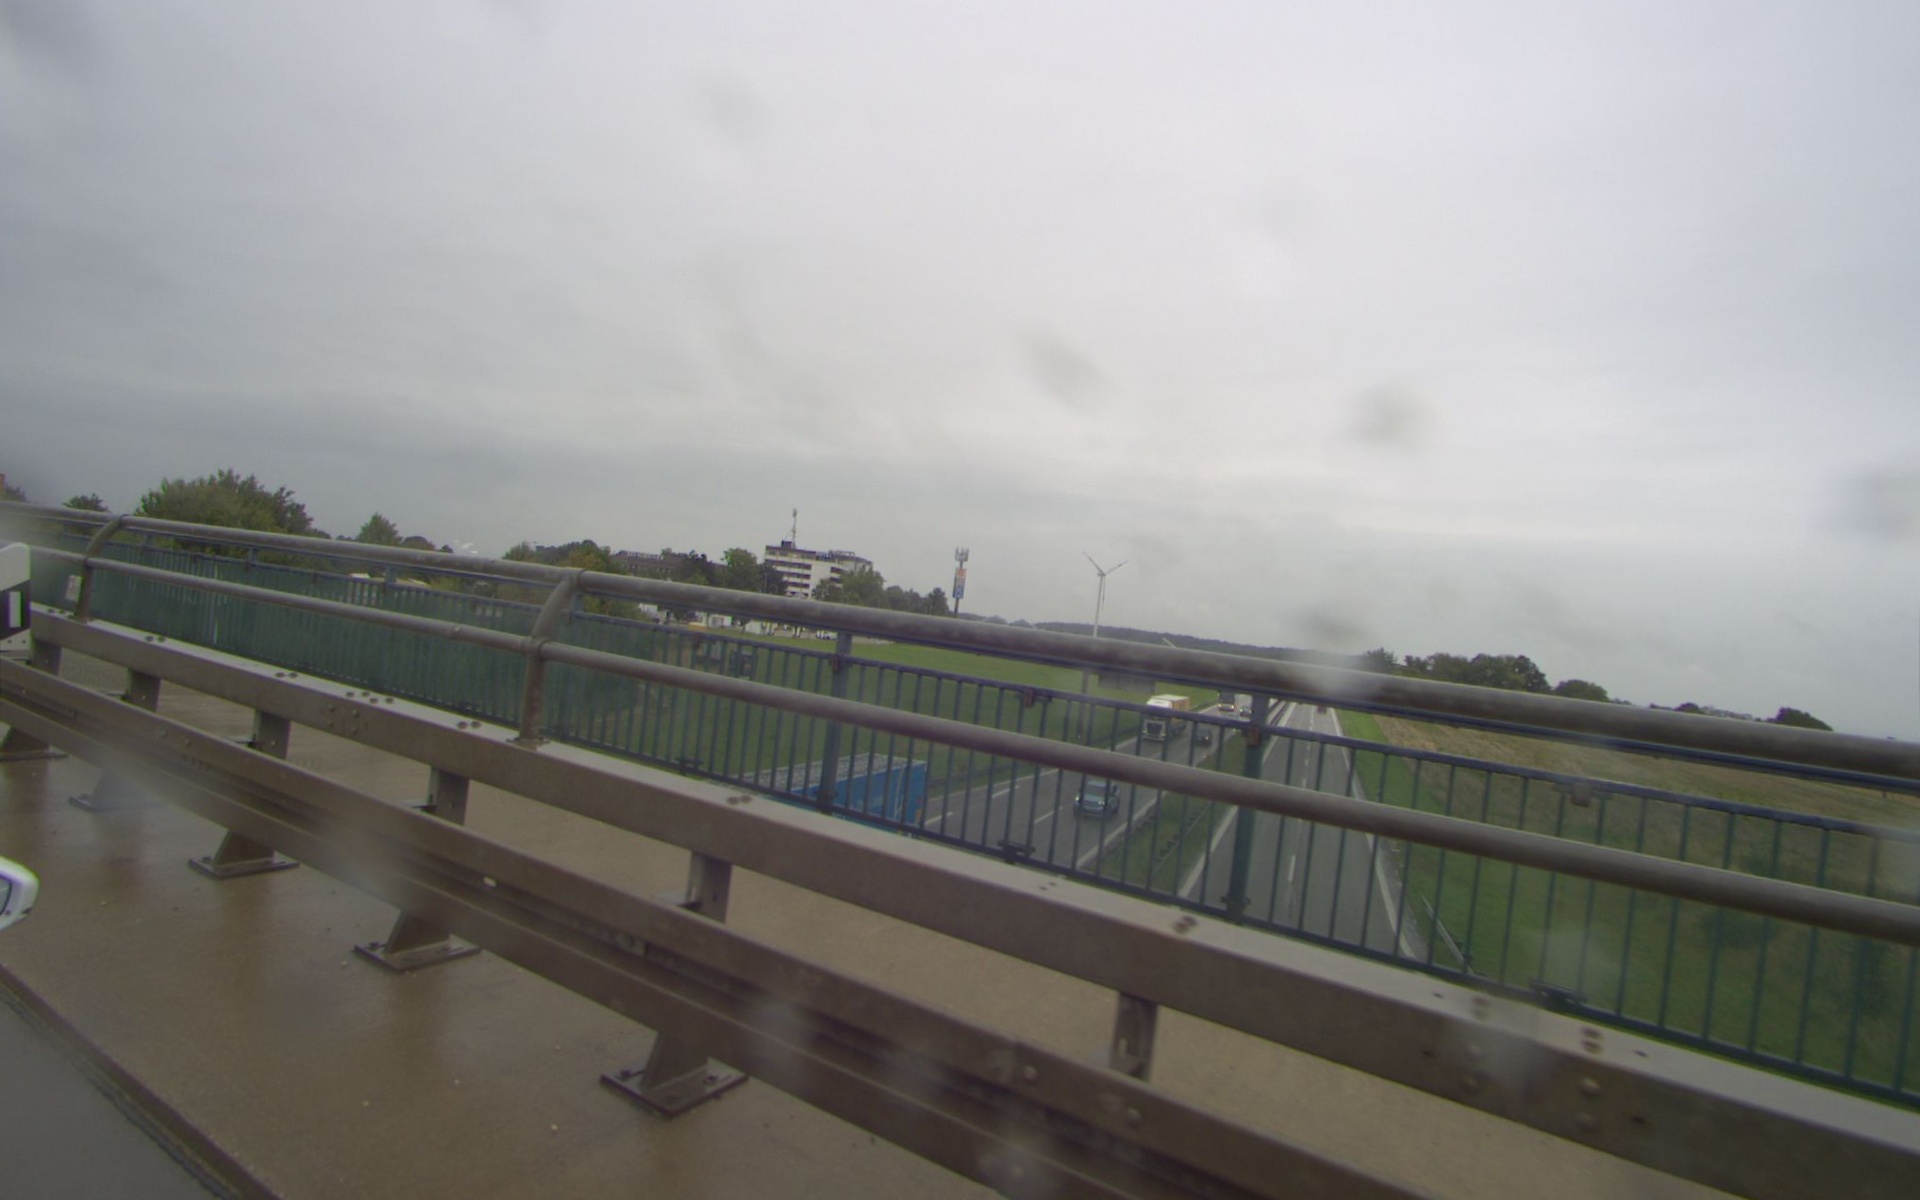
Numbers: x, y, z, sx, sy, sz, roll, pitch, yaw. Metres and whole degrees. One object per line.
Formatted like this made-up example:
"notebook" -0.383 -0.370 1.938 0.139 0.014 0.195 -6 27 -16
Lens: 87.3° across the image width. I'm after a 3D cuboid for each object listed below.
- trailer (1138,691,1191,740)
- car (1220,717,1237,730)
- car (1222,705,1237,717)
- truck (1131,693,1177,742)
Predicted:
"trailer" 21.235 11.756 103.791 2.828 4.014 14.029 7 -1 20
"car" 35.376 16.259 132.470 1.646 1.367 4.003 7 -2 19
"car" 44.371 18.229 165.398 1.962 1.782 4.007 7 -3 19
"truck" 18.769 11.192 96.973 2.828 4.015 6.823 7 -1 20
